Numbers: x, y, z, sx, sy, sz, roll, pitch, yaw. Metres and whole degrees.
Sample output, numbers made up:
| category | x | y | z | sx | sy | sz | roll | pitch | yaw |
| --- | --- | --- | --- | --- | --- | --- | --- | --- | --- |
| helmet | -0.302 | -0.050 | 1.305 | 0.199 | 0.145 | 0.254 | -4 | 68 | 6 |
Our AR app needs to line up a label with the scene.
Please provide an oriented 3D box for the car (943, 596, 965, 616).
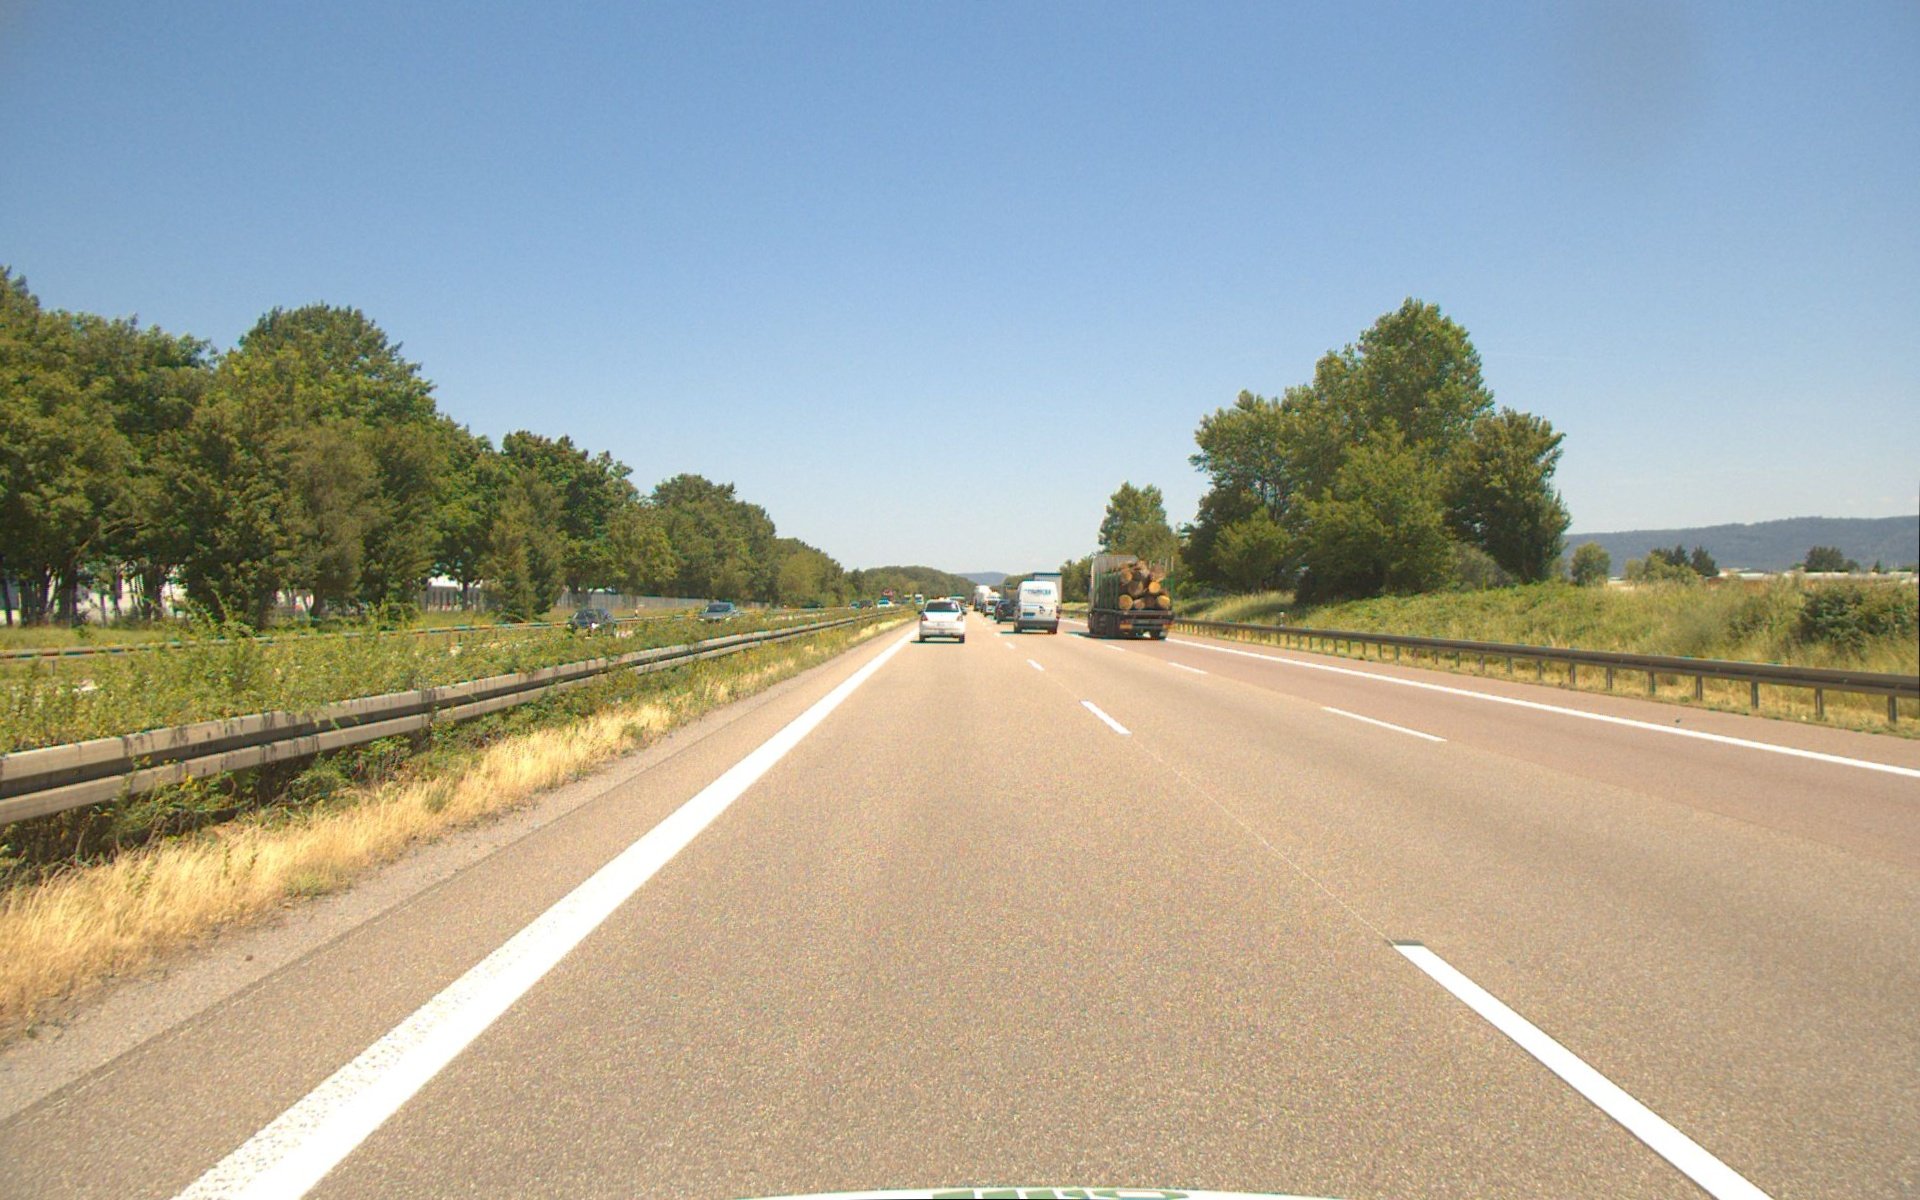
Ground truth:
| category | x | y | z | sx | sy | sz | roll | pitch | yaw |
| --- | --- | --- | --- | --- | --- | --- | --- | --- | --- |
| car | -0.537 | 0.547 | 148.810 | 1.819 | 1.681 | 3.999 | 1 | 0 | -2 |

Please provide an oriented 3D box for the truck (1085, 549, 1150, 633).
| category | x | y | z | sx | sy | sz | roll | pitch | yaw |
| --- | --- | --- | --- | --- | --- | --- | --- | --- | --- |
| truck | 7.951 | -0.453 | 84.426 | 2.615 | 4.064 | 6.635 | 1 | 0 | 0 |

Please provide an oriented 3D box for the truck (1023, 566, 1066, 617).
| category | x | y | z | sx | sy | sz | roll | pitch | yaw |
| --- | --- | --- | --- | --- | --- | --- | --- | --- | --- |
| truck | 7.573 | -0.724 | 150.608 | 3.016 | 4.282 | 16.843 | 2 | 0 | 1 |

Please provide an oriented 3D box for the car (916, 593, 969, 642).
| category | x | y | z | sx | sy | sz | roll | pitch | yaw |
| --- | --- | --- | --- | --- | --- | --- | --- | --- | --- |
| car | -0.661 | 0.634 | 60.694 | 1.819 | 1.681 | 3.999 | 2 | 0 | -2 |

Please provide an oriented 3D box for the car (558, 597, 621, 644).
| category | x | y | z | sx | sy | sz | roll | pitch | yaw |
| --- | --- | --- | --- | --- | --- | --- | --- | --- | --- |
| car | -17.204 | 0.924 | 76.950 | 1.953 | 2.049 | 4.271 | 2 | 0 | -1 |

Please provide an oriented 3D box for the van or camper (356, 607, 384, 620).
| category | x | y | z | sx | sy | sz | roll | pitch | yaw |
| --- | --- | --- | --- | --- | --- | --- | --- | --- | --- |
| van or camper | -78.920 | 1.746 | 221.437 | 1.953 | 1.681 | 5.020 | -1 | 0 | 0 |

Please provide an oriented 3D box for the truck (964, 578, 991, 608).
| category | x | y | z | sx | sy | sz | roll | pitch | yaw |
| --- | --- | --- | --- | --- | --- | --- | --- | --- | --- |
| truck | 2.699 | -1.041 | 257.621 | 3.192 | 4.282 | 16.834 | 2 | 0 | -2 |

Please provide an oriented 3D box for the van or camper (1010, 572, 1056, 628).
| category | x | y | z | sx | sy | sz | roll | pitch | yaw |
| --- | --- | --- | --- | --- | --- | --- | --- | --- | --- |
| van or camper | 3.581 | 0.022 | 82.251 | 2.016 | 2.668 | 5.984 | 1 | 0 | 0 |

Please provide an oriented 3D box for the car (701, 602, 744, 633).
| category | x | y | z | sx | sy | sz | roll | pitch | yaw |
| --- | --- | --- | --- | --- | --- | --- | --- | --- | --- |
| car | -12.826 | 0.949 | 89.517 | 1.756 | 1.606 | 4.210 | -1 | 0 | -1 |

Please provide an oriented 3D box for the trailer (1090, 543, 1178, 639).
| category | x | y | z | sx | sy | sz | roll | pitch | yaw |
| --- | --- | --- | --- | --- | --- | --- | --- | --- | --- |
| trailer | 7.941 | -0.387 | 77.116 | 2.599 | 4.028 | 13.635 | 1 | 0 | 0 |

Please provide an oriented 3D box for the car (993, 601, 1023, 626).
| category | x | y | z | sx | sy | sz | roll | pitch | yaw |
| --- | --- | --- | --- | --- | --- | --- | --- | --- | --- |
| car | 3.328 | 0.899 | 114.892 | 1.819 | 1.681 | 3.999 | 1 | 0 | -2 |

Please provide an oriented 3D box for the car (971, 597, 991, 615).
| category | x | y | z | sx | sy | sz | roll | pitch | yaw |
| --- | --- | --- | --- | --- | --- | --- | --- | --- | --- |
| car | 2.022 | 0.615 | 162.657 | 1.819 | 1.681 | 3.999 | 1 | 0 | -2 |
